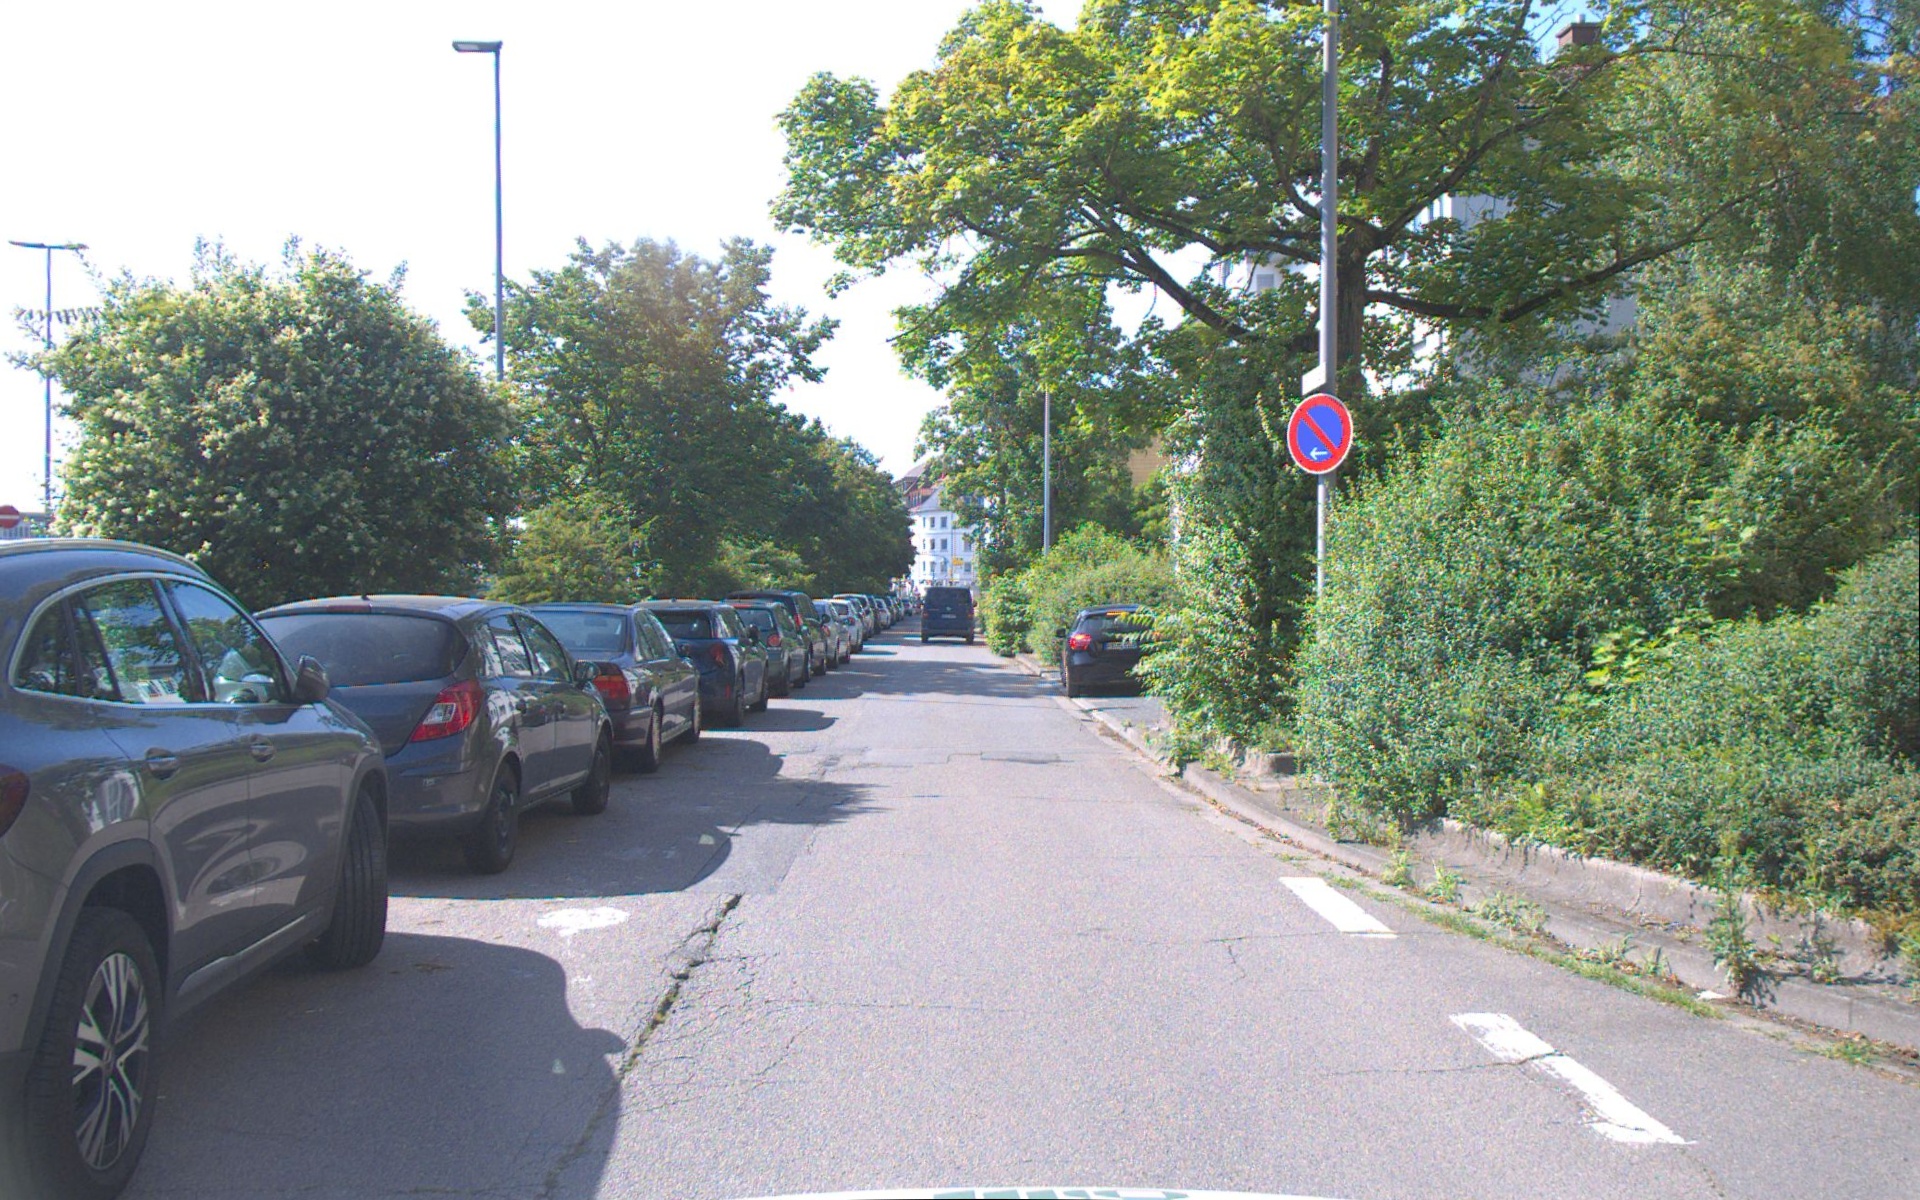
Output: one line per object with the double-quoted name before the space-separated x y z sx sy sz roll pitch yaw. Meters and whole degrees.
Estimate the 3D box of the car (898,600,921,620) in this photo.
"car" -4.348 0.842 142.561 1.953 1.686 3.999 0 0 -2

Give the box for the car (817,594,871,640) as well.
"car" -3.986 0.567 57.330 1.630 1.536 4.200 0 0 0

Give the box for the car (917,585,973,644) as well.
"car" -0.511 0.492 58.480 1.844 1.955 4.008 2 0 0

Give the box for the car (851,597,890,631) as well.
"car" -4.269 0.659 79.384 1.630 1.536 4.008 2 0 0

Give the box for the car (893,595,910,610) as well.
"car" -6.988 0.324 197.391 1.953 1.686 3.999 0 0 -2

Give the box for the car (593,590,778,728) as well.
"car" -3.312 0.659 20.574 1.630 1.499 3.789 2 0 0

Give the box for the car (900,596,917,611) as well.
"car" -5.772 0.416 185.392 1.953 1.686 3.999 0 0 -2

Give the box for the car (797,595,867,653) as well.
"car" -3.582 0.646 46.794 1.630 1.494 4.200 2 0 0

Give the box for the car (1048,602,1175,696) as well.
"car" 2.473 0.767 27.858 1.691 1.445 3.999 -1 0 -1

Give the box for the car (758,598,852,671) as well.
"car" -3.345 0.710 36.358 1.630 1.431 4.319 2 0 0

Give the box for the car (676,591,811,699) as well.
"car" -3.387 0.667 26.511 1.630 1.538 3.789 2 0 0

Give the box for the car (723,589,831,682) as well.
"car" -3.388 0.618 31.197 1.630 1.611 3.931 0 1 0

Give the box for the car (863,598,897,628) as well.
"car" -4.340 0.709 90.526 1.630 1.536 4.008 2 0 0

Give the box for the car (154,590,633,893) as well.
"car" -3.198 0.695 10.162 1.630 1.500 3.876 0 0 0

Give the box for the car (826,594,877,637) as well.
"car" -4.124 0.565 63.234 1.630 1.536 4.008 2 0 0

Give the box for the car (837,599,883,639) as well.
"car" -4.118 0.761 68.435 1.630 1.536 4.008 2 0 0

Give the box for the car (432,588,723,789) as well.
"car" -3.382 0.698 15.519 1.630 1.538 4.593 2 0 0

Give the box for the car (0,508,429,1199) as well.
"car" -2.957 0.613 5.089 1.738 1.607 4.180 0 0 -7

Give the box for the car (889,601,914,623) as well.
"car" -4.671 0.961 132.753 1.953 1.686 3.999 0 0 -2

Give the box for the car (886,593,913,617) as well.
"car" -3.879 0.305 107.193 1.630 1.536 4.008 0 0 0

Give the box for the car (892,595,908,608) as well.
"car" -7.627 0.199 210.438 1.953 1.686 3.739 0 0 -2
